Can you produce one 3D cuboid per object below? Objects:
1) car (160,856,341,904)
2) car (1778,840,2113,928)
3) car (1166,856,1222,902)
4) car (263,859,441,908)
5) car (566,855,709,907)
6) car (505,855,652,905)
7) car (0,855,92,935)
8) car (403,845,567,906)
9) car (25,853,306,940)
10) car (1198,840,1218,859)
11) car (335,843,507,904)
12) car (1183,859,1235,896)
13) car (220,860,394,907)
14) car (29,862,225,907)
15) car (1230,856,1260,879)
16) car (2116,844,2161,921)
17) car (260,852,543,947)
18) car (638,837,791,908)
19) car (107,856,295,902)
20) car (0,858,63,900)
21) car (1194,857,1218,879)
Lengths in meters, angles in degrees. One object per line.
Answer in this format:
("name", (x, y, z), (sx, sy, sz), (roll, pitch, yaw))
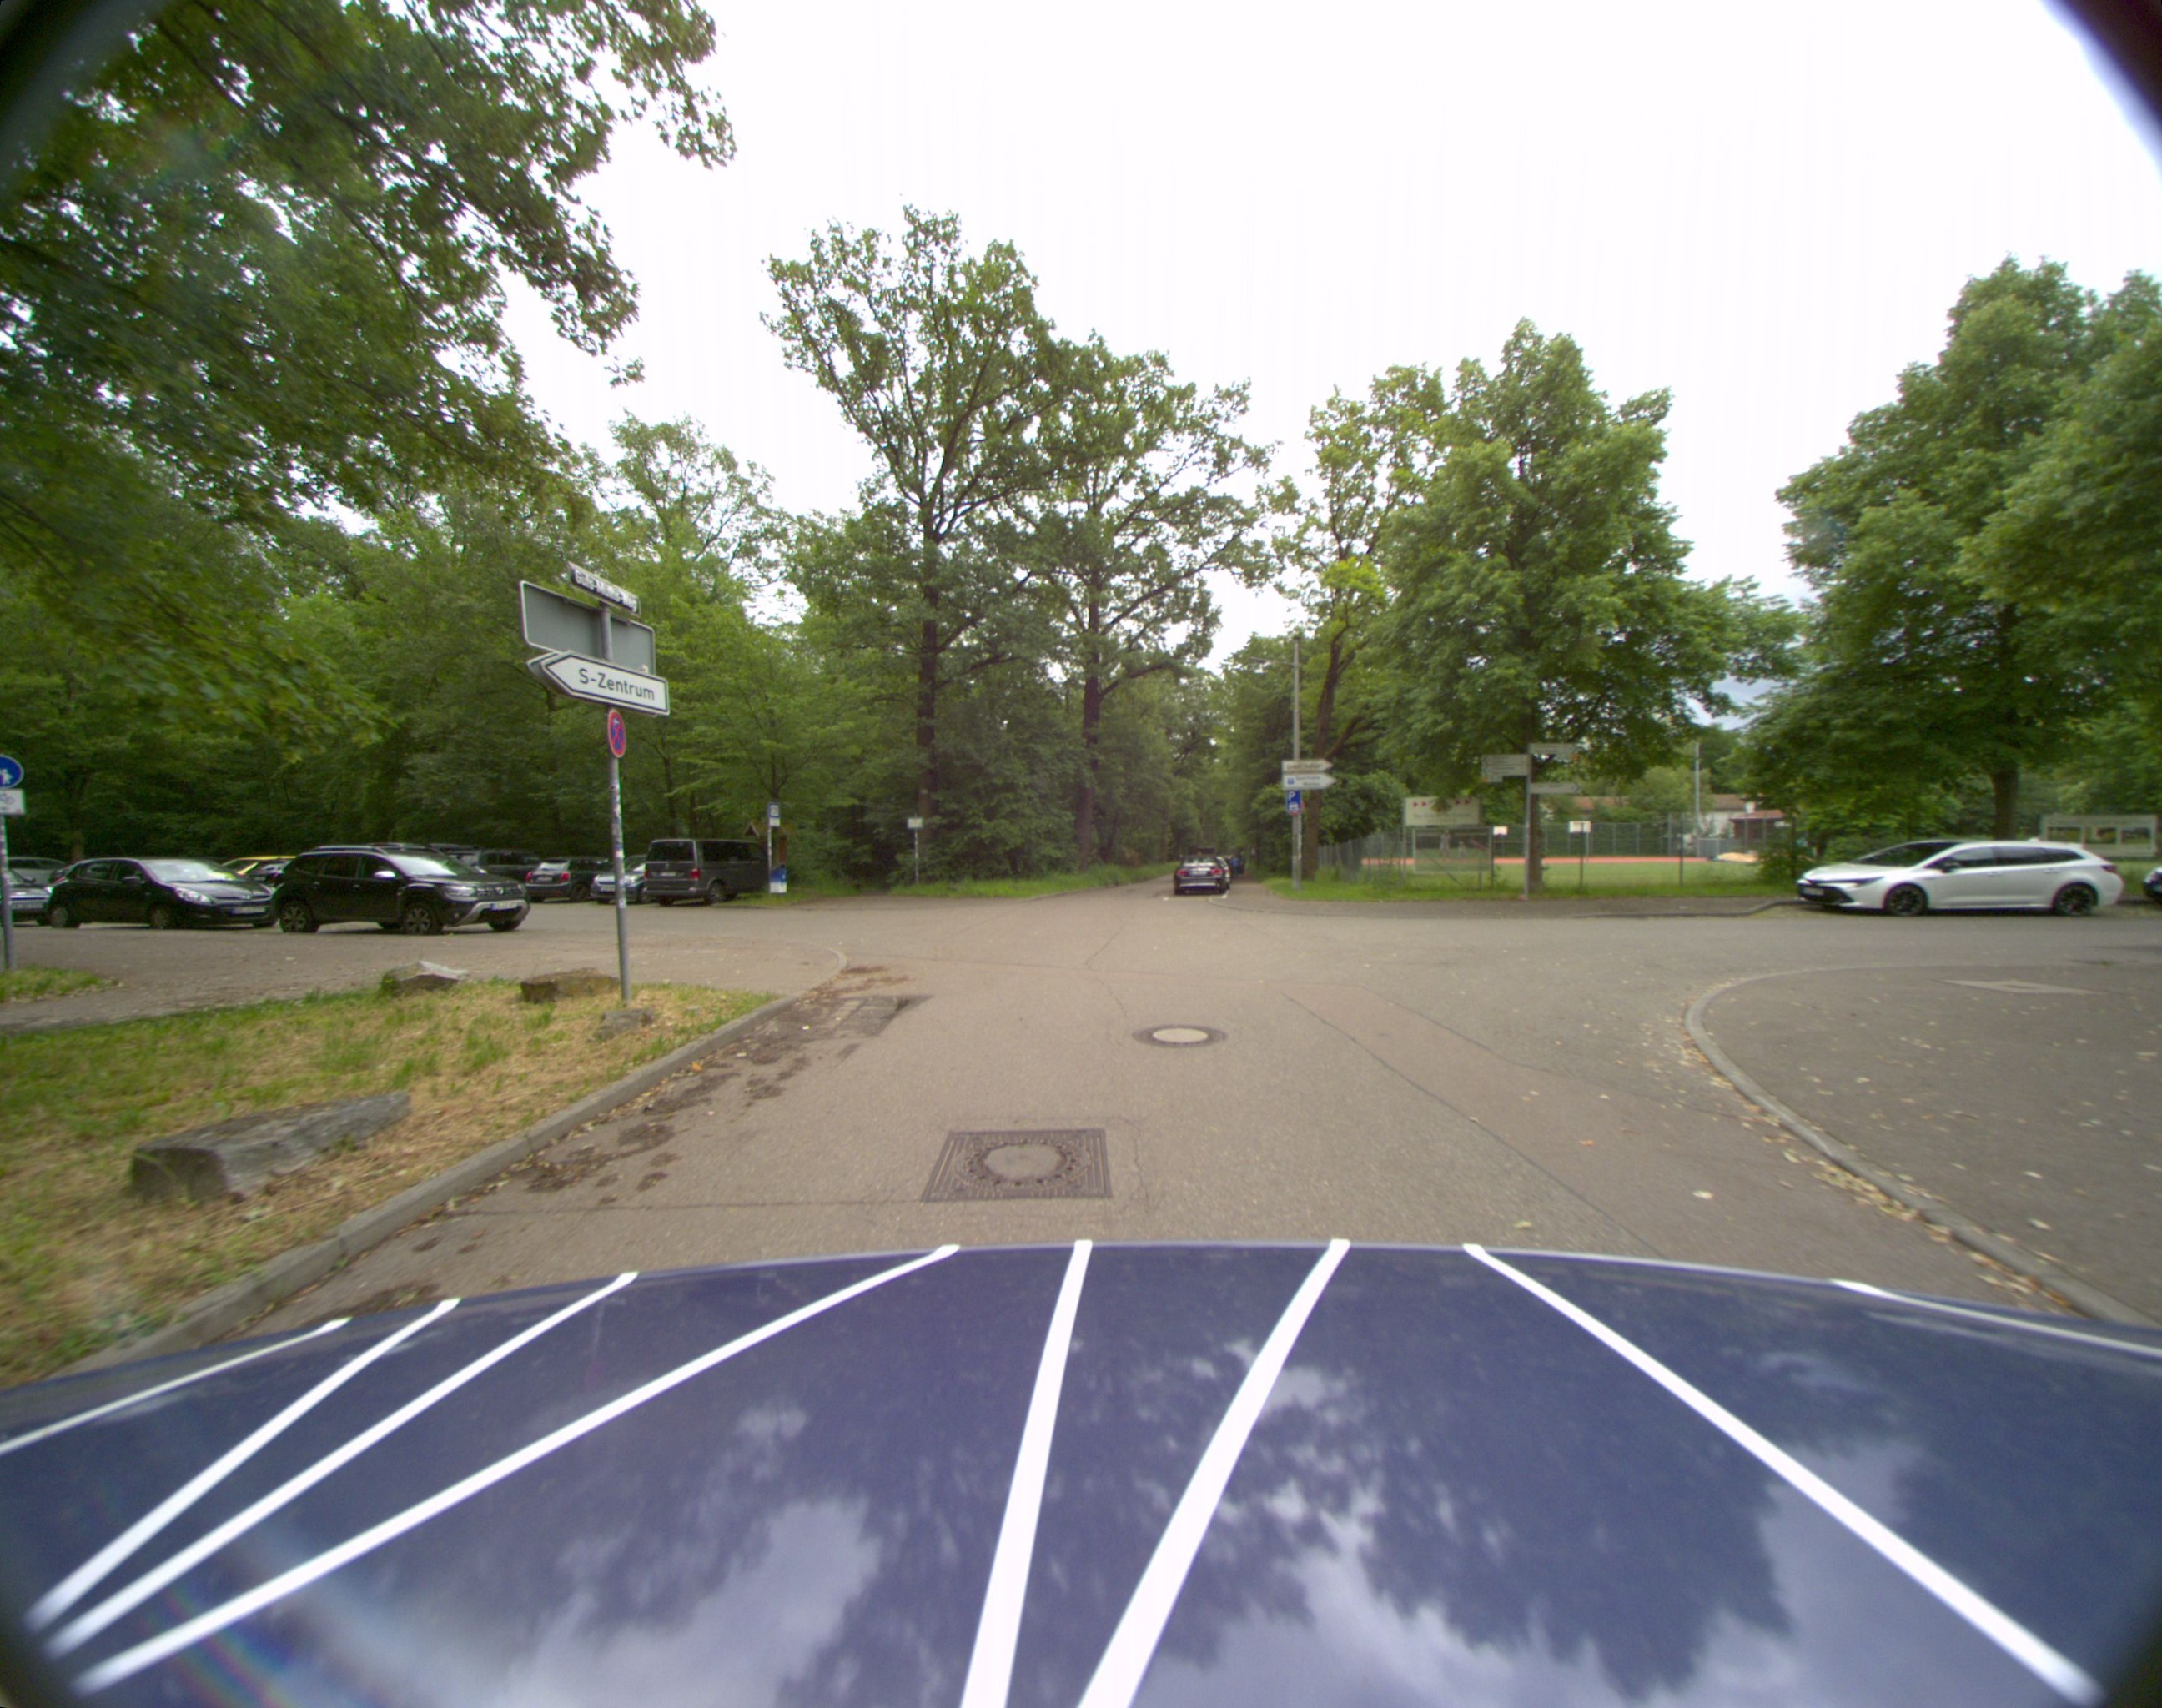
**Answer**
("car", (-28.765, 0.851, 26.523), (1.615, 1.430, 4.002), (0, 1, 9))
("car", (16.971, 0.555, 15.155), (4.210, 1.587, 1.771), (0, 3, 9))
("car", (4.150, 0.867, 27.357), (1.769, 1.485, 4.331), (-2, -1, 11))
("car", (-23.905, 0.908, 25.136), (1.777, 1.467, 4.002), (-1, 0, 7))
("car", (-13.881, 0.791, 24.068), (1.806, 1.504, 3.830), (-1, 0, 11))
("car", (-16.263, 0.785, 24.858), (1.718, 1.422, 4.002), (0, 1, 9))
("car", (-24.142, 0.843, 16.350), (3.992, 1.624, 1.817), (0, 1, 10))
("car", (-19.097, 0.620, 24.615), (1.821, 1.756, 4.001), (0, 2, 7))
("car", (-18.517, 0.797, 15.463), (3.992, 1.624, 1.816), (0, 1, 9))
("car", (17.663, -0.699, 105.655), (2.578, 2.520, 4.938), (-1, 1, 9))
("car", (-21.503, 0.584, 24.991), (1.811, 1.851, 4.003), (-1, 0, 8))
("car", (5.443, 0.970, 32.147), (1.997, 1.411, 4.004), (-2, -1, 11))
("car", (-26.413, 0.956, 26.139), (1.669, 1.430, 4.002), (-1, 0, 6))
("car", (-33.782, 1.043, 27.092), (1.712, 1.430, 4.003), (-1, 0, 9))
("car", (12.466, 1.021, 57.975), (1.956, 1.609, 3.641), (1, 1, 8))
("car", (22.554, 0.553, 14.288), (3.661, 1.447, 1.550), (-1, 4, 6))
("car", (-12.730, 0.782, 14.355), (4.093, 1.624, 1.816), (0, 1, 10))
("car", (-11.135, 0.516, 23.511), (1.888, 1.966, 4.521), (-1, 0, 11))
("car", (-31.039, 0.829, 26.987), (1.731, 1.430, 4.002), (0, 1, 9))
("car", (-38.874, 0.918, 26.278), (1.712, 1.459, 4.002), (0, 1, 8))
("car", (9.423, 1.051, 57.502), (1.619, 1.583, 3.521), (-2, 0, 8))
